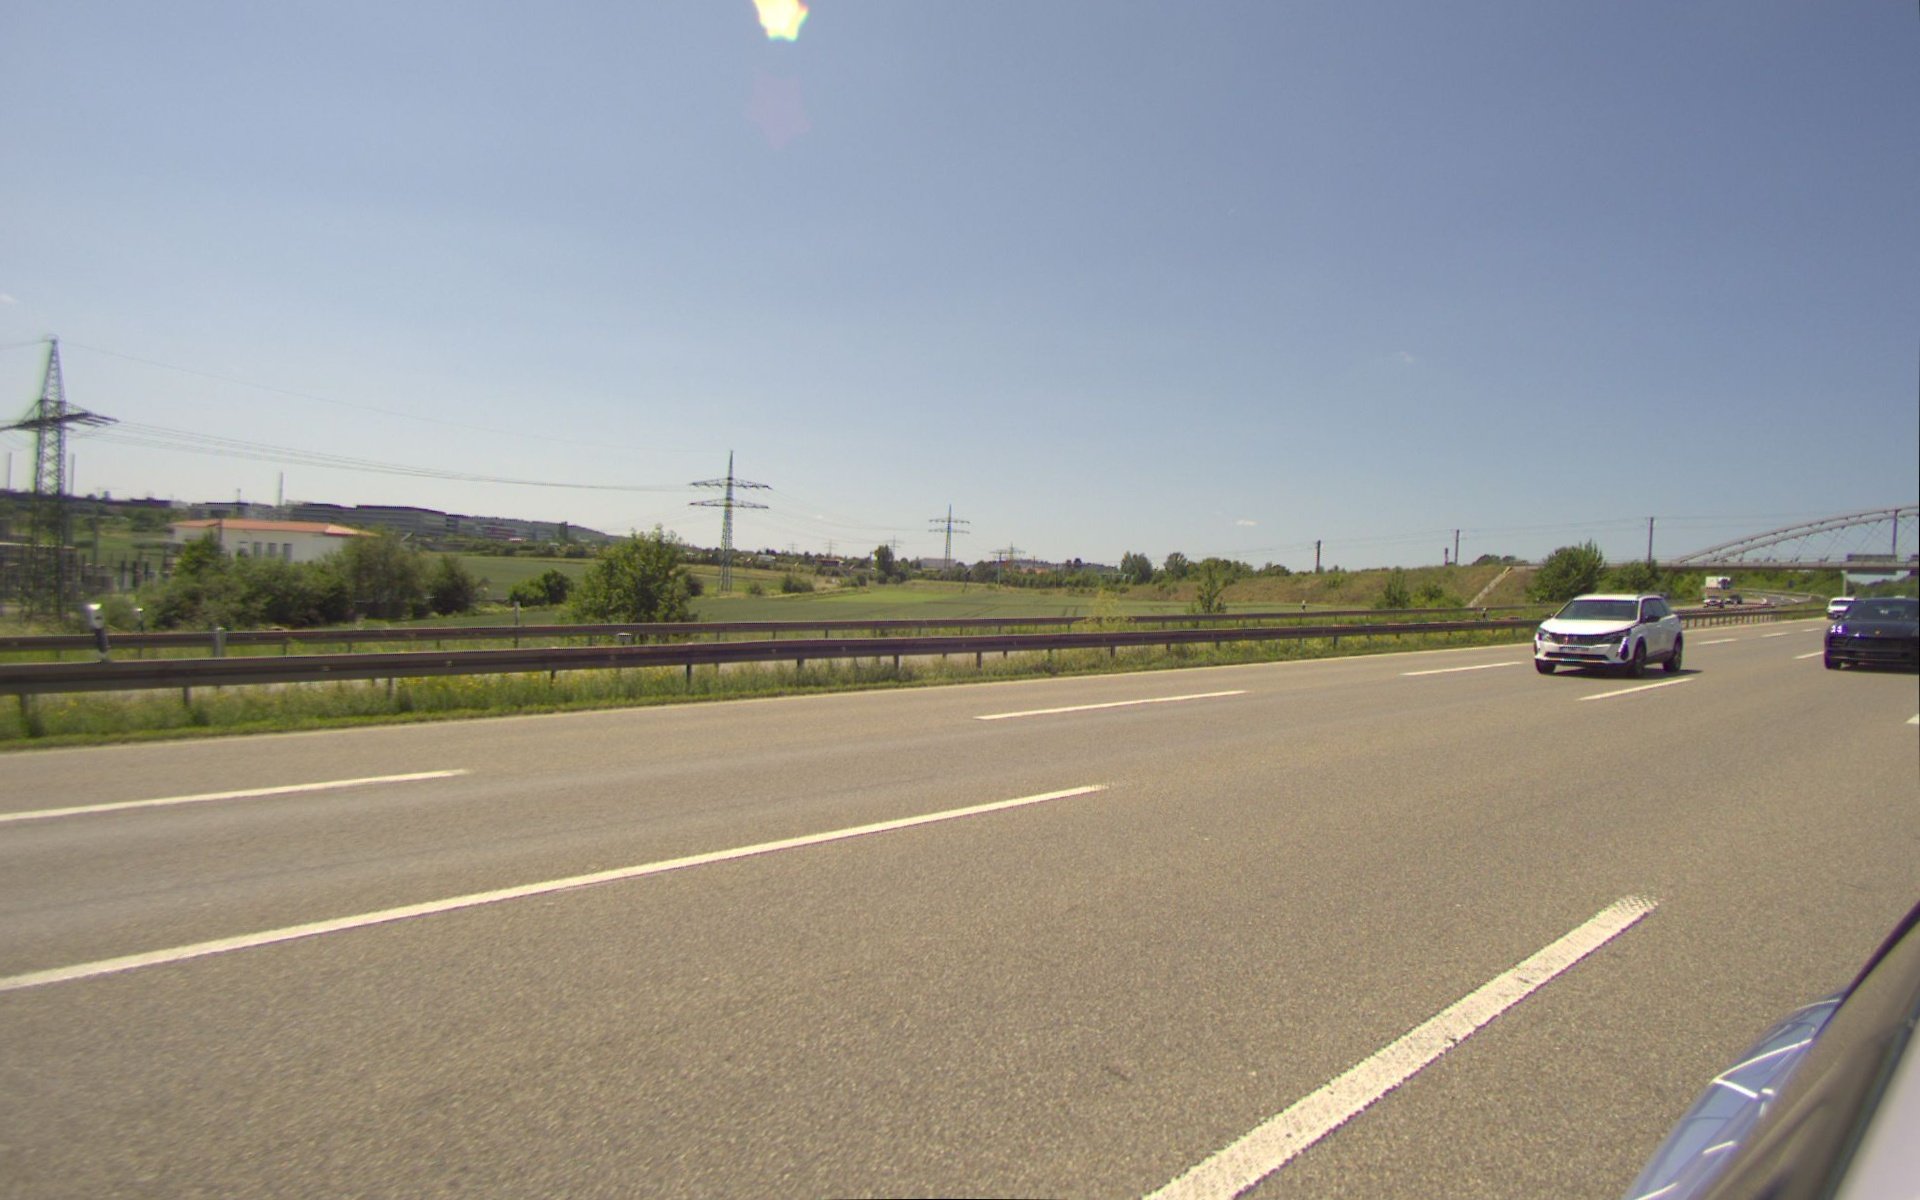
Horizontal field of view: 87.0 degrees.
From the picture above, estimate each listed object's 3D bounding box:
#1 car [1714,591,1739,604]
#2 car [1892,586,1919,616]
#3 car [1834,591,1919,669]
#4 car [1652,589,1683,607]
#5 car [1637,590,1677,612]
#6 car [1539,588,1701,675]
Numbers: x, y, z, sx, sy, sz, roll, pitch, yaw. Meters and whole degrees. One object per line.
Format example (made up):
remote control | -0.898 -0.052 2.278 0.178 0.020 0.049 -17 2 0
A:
car | 93.782 -0.304 123.820 4.058 1.594 1.702 -1 1 -42
car | 64.245 0.063 68.188 4.222 1.943 1.806 -1 1 -42
car | 21.134 0.610 22.686 4.062 1.615 1.929 -1 1 -43
car | 65.506 -0.206 93.672 4.060 1.594 1.701 -1 1 -44
car | 52.380 0.047 76.046 4.060 1.594 1.701 -1 1 -44
car | 13.864 0.565 21.157 4.540 1.611 1.746 -1 1 -42
